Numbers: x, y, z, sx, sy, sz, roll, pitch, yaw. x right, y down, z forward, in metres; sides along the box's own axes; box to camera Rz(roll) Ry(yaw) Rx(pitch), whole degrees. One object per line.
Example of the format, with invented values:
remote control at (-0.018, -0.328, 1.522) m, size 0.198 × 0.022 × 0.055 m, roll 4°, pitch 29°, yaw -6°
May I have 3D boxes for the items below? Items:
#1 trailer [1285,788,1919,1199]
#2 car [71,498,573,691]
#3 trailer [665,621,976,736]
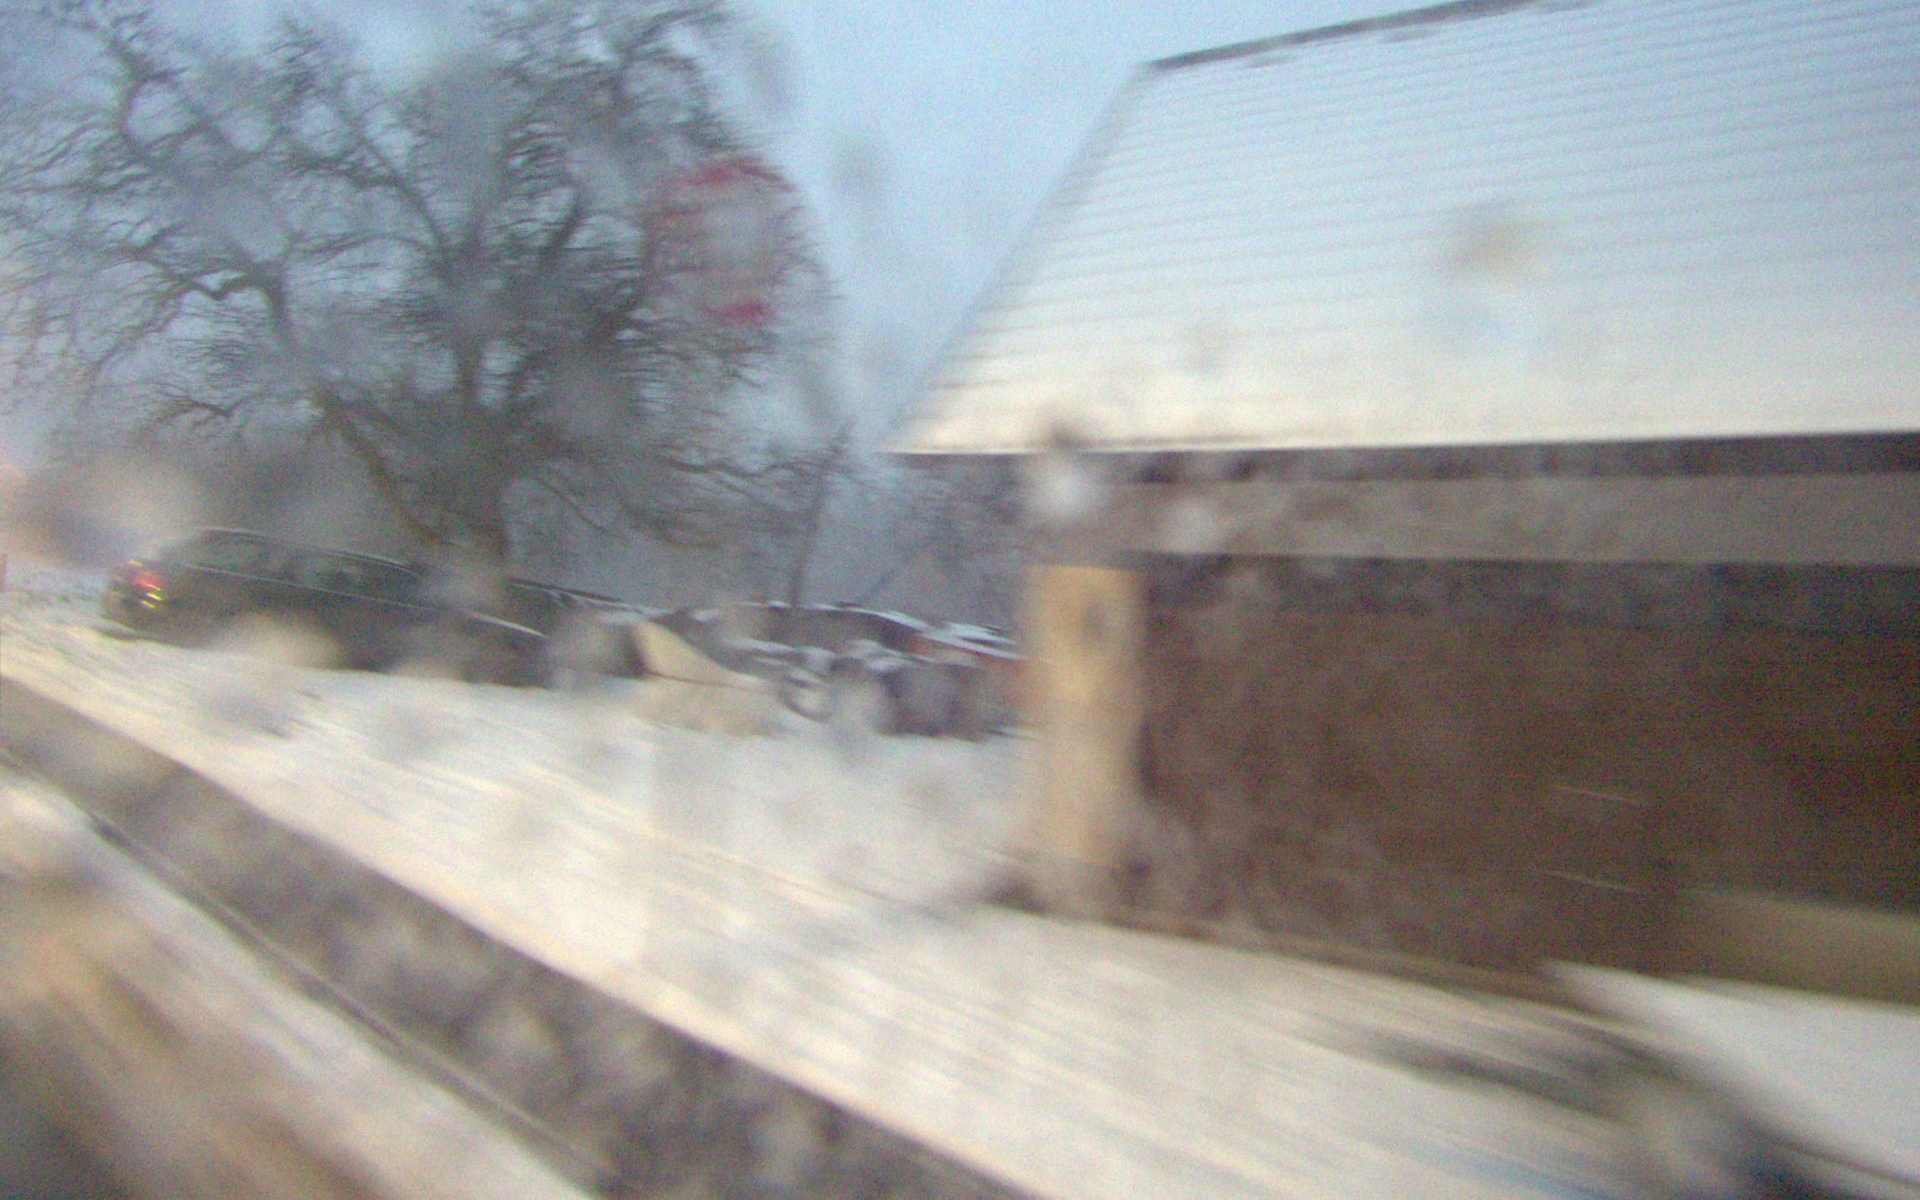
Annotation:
trailer at (2.981, 1.324, 2.410) m, size 3.923 × 0.958 × 1.550 m, roll 6°, pitch 1°, yaw 9°
car at (-7.206, 0.035, 11.792) m, size 2.006 × 1.395 × 4.456 m, roll 6°, pitch -6°, yaw 39°
trailer at (-1.751, 1.121, 13.810) m, size 2.209 × 1.104 × 3.878 m, roll 6°, pitch -3°, yaw 32°
